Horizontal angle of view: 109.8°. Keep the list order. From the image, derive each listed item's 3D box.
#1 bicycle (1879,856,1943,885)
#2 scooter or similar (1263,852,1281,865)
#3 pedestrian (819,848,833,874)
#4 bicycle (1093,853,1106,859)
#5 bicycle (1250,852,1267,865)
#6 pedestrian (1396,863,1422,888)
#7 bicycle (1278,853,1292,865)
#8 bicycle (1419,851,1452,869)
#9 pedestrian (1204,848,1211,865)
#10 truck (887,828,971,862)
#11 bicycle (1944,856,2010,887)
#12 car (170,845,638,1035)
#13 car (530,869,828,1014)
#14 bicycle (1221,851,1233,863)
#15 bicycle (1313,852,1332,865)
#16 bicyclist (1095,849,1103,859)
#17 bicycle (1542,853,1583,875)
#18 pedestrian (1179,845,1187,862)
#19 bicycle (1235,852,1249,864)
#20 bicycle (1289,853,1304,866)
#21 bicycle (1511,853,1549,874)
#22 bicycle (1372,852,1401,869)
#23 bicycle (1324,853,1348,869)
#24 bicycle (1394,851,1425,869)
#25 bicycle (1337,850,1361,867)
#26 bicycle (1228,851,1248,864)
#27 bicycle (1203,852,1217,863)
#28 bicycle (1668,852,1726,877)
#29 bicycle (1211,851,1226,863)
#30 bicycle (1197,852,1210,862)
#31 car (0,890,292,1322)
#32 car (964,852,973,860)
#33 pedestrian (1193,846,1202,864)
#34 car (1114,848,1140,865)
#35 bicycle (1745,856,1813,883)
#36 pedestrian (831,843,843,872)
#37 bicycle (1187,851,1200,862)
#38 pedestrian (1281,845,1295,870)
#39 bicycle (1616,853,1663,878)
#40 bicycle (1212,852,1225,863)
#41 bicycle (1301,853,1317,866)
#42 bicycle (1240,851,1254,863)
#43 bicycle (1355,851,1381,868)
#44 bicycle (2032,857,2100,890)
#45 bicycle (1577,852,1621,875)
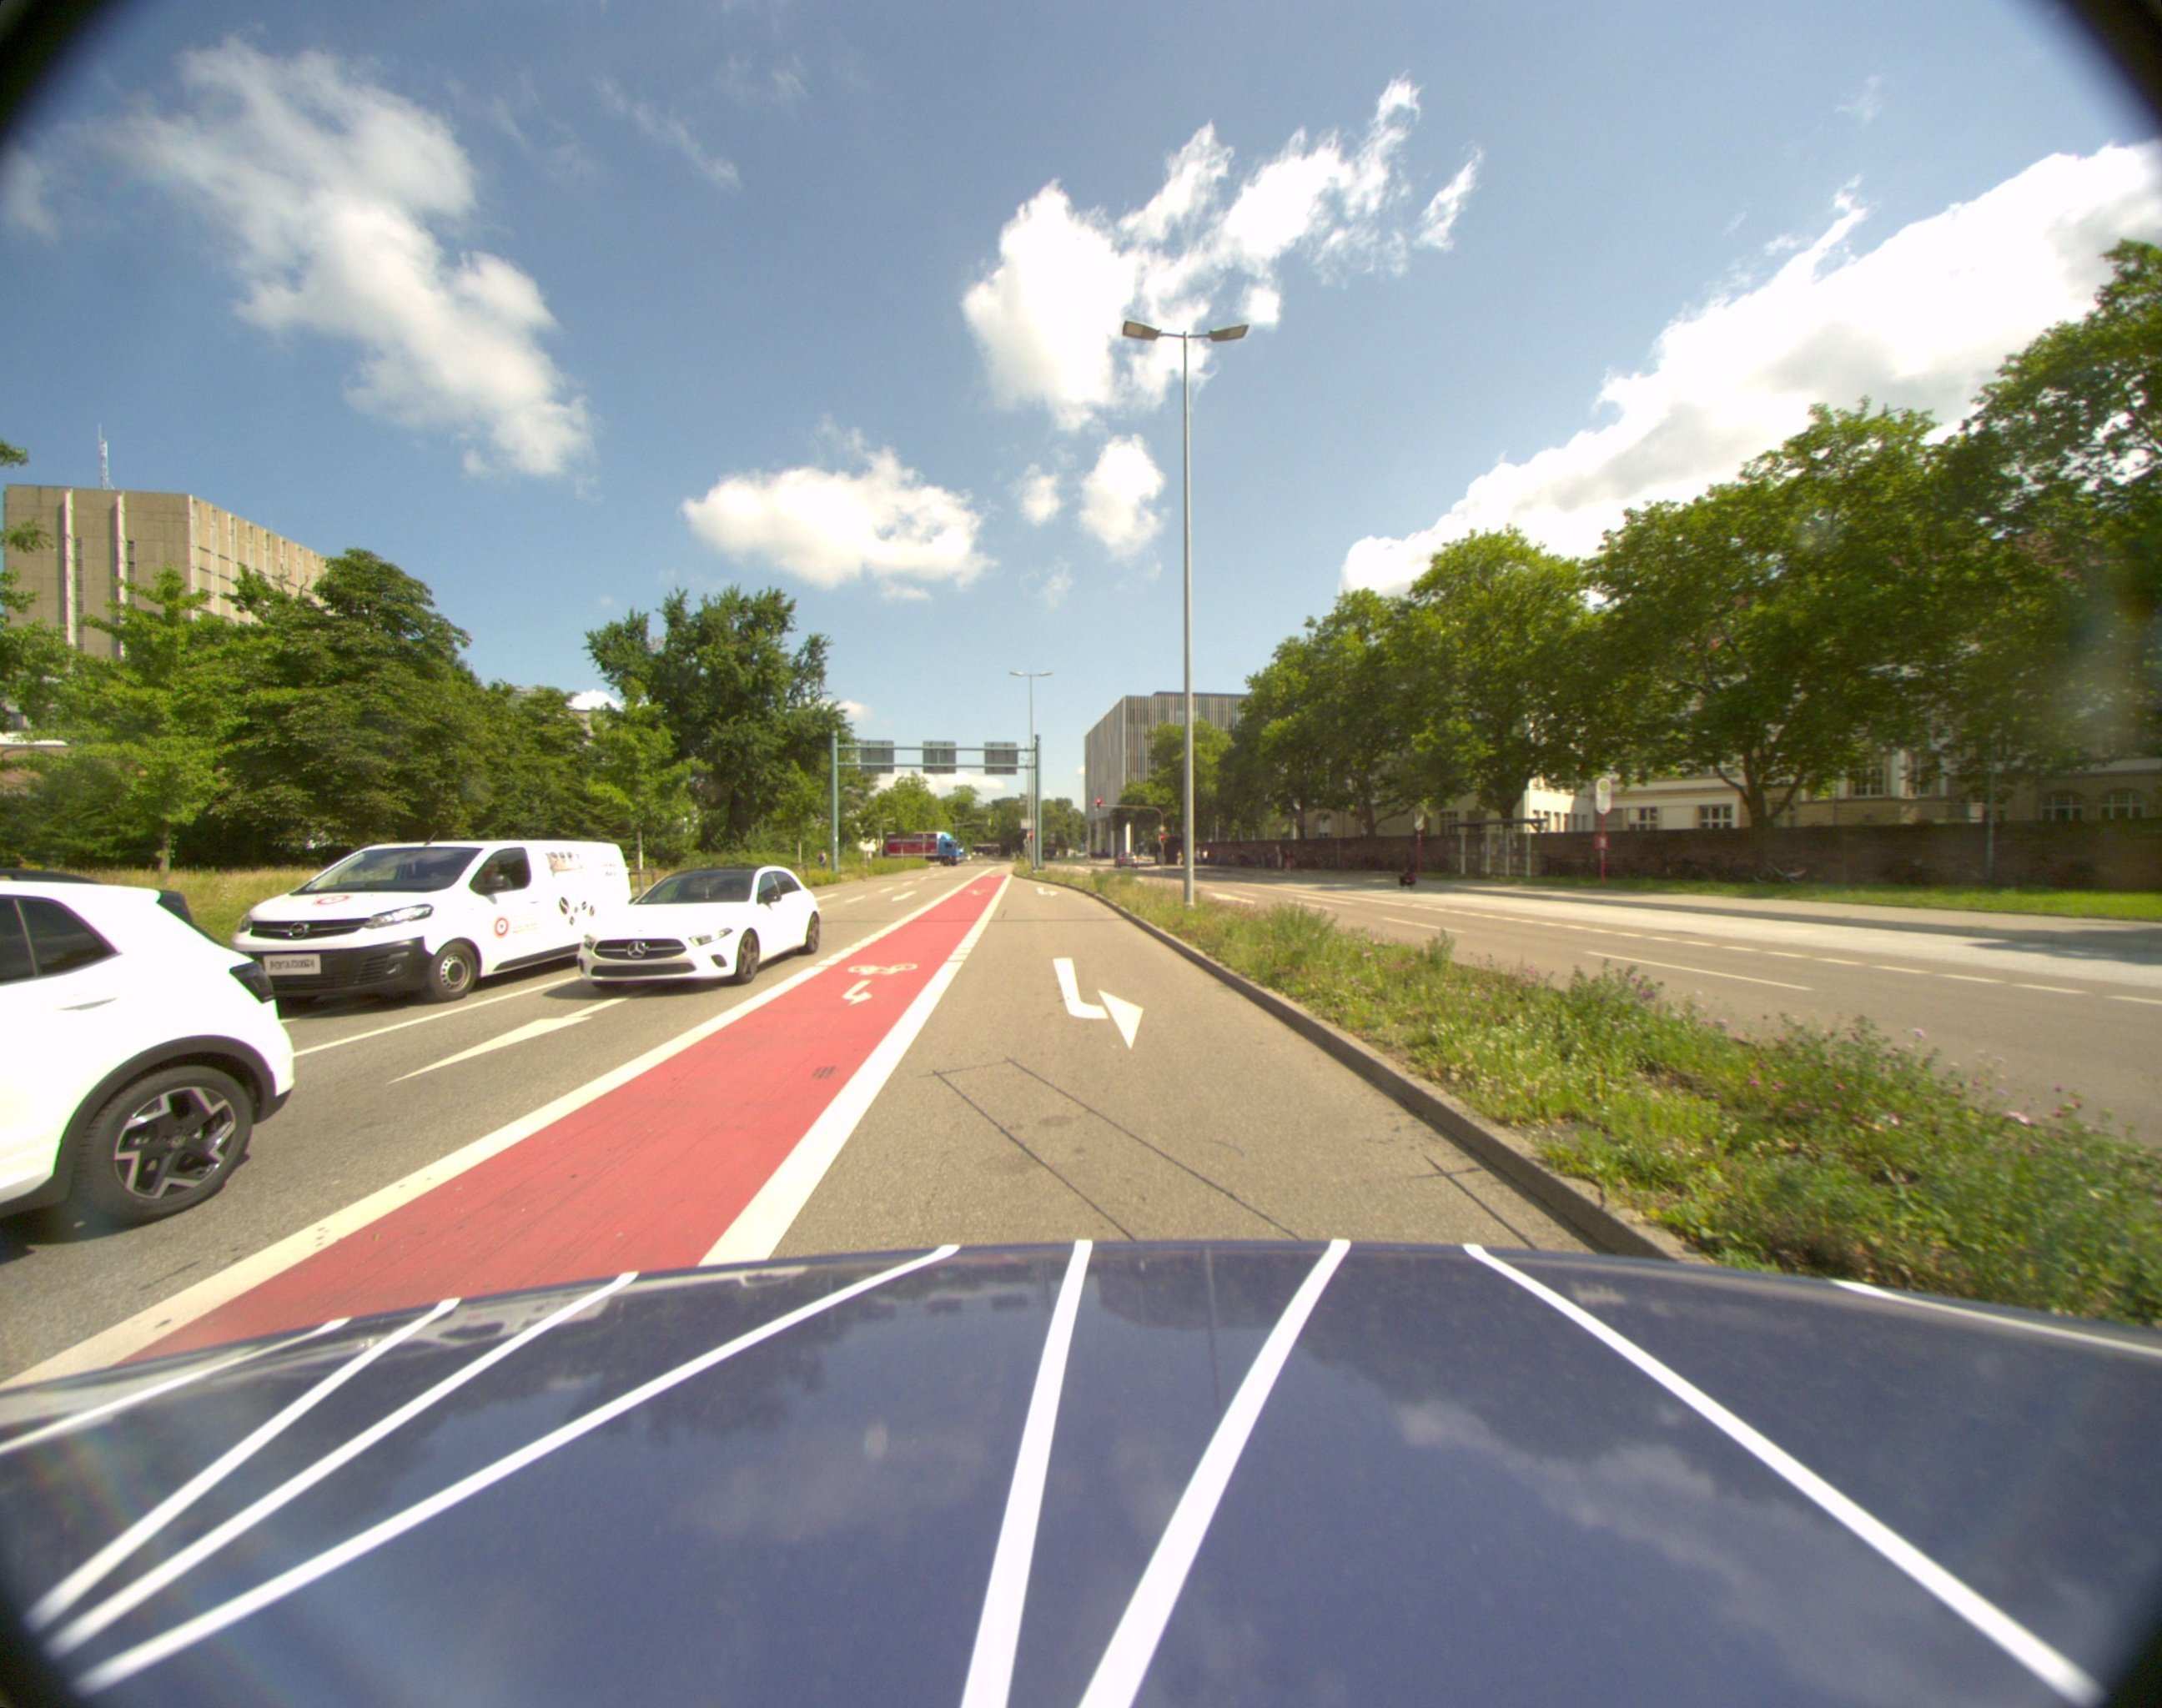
[{"bbox_3d":[29.350,0.575,26.878,0.473,1.005,1.453,-1,1,-25],"label":"bicycle"},{"bbox_3d":[15.250,0.333,60.829,0.582,1.042,1.878,-1,1,-14],"label":"scooter or similar"},{"bbox_3d":[-16.039,0.434,47.760,0.625,1.572,0.708,0,1,-4],"label":"pedestrian"},{"bbox_3d":[2.744,0.275,110.223,1.771,0.887,0.639,0,1,27],"label":"bicycle"},{"bbox_3d":[14.639,0.347,62.692,0.582,1.042,1.878,-1,1,-14],"label":"bicycle"},{"bbox_3d":[13.269,0.852,30.737,0.696,0.957,0.742,-1,1,-6],"label":"pedestrian"},{"bbox_3d":[15.880,0.381,59.191,0.368,0.949,1.399,-1,1,-20],"label":"bicycle"},{"bbox_3d":[20.587,0.336,44.170,0.585,1.067,1.752,-1,1,-26],"label":"bicycle"},{"bbox_3d":[11.936,0.225,71.791,0.477,1.531,0.616,0,1,-10],"label":"pedestrian"},{"bbox_3d":[-17.582,-1.030,87.933,9.175,3.777,2.668,0,1,10],"label":"truck"},{"bbox_3d":[30.089,0.564,25.544,0.392,1.005,1.367,-1,1,-25],"label":"bicycle"},{"bbox_3d":[-8.077,0.828,9.921,1.948,1.859,4.823,0,0,-3],"label":"car"},{"bbox_3d":[-5.043,0.984,10.366,1.909,1.415,4.383,0,0,-3],"label":"car"},{"bbox_3d":[13.157,0.298,68.526,0.371,1.042,1.878,-1,1,-14],"label":"bicycle"},{"bbox_3d":[17.188,0.313,54.079,0.371,0.949,1.624,-1,1,-20],"label":"bicycle"},{"bbox_3d":[2.654,-0.042,110.258,0.944,1.456,0.633,0,1,27],"label":"bicyclist"},{"bbox_3d":[23.644,0.492,37.343,0.585,1.067,1.628,-1,1,-26],"label":"bicycle"},{"bbox_3d":[10.074,-0.051,75.228,0.562,1.641,0.726,0,1,-10],"label":"pedestrian"},{"bbox_3d":[13.659,0.330,64.390,0.374,1.042,1.878,-1,1,-14],"label":"bicycle"},{"bbox_3d":[16.177,0.438,57.072,0.368,0.949,1.399,-1,1,-20],"label":"bicycle"},{"bbox_3d":[22.950,0.469,38.854,0.585,1.067,1.628,-1,1,-26],"label":"bicycle"},{"bbox_3d":[19.159,0.395,47.631,0.585,1.067,1.752,-1,1,-26],"label":"bicycle"},{"bbox_3d":[17.607,0.483,52.498,0.584,1.067,1.752,-1,1,-20],"label":"bicycle"},{"bbox_3d":[19.841,0.359,45.867,0.585,1.067,1.752,-1,1,-26],"label":"bicycle"},{"bbox_3d":[18.004,0.296,51.086,0.584,1.067,1.752,-1,1,-20],"label":"bicycle"},{"bbox_3d":[13.697,0.294,66.381,0.594,1.042,1.876,-1,1,-29],"label":"bicycle"},{"bbox_3d":[12.347,0.300,72.641,0.566,1.042,1.878,-1,1,-14],"label":"bicycle"},{"bbox_3d":[26.254,0.431,32.413,0.585,1.067,1.866,-1,1,-21],"label":"bicycle"},{"bbox_3d":[12.477,0.267,68.972,0.594,1.042,1.878,-1,1,-14],"label":"bicycle"},{"bbox_3d":[12.025,0.290,74.658,0.632,1.042,1.878,-1,1,-14],"label":"bicycle"},{"bbox_3d":[-4.845,0.996,1.811,1.796,1.530,4.009,-2,1,-3],"label":"car"},{"bbox_3d":[-22.026,0.370,148.611,1.710,1.321,3.996,2,0,-10],"label":"car"},{"bbox_3d":[10.879,0.118,71.120,0.643,1.641,0.730,0,1,-10],"label":"pedestrian"},{"bbox_3d":[4.123,0.220,68.533,1.705,1.436,4.143,1,0,-5],"label":"car"},{"bbox_3d":[27.560,0.595,30.034,0.473,1.005,1.960,-1,1,-25],"label":"bicycle"},{"bbox_3d":[-15.386,0.204,47.858,0.568,1.791,0.638,0,1,-4],"label":"pedestrian"},{"bbox_3d":[11.363,0.243,77.106,0.632,1.042,1.878,-1,1,-14],"label":"bicycle"},{"bbox_3d":[13.491,0.202,49.594,0.658,1.600,0.744,-1,1,-3],"label":"pedestrian"},{"bbox_3d":[25.192,0.509,34.305,0.585,1.067,1.628,-1,1,-26],"label":"bicycle"},{"bbox_3d":[12.762,0.304,70.524,0.371,1.042,1.878,-1,1,-14],"label":"bicycle"},{"bbox_3d":[16.722,0.411,55.680,0.368,0.949,1.399,-1,1,-20],"label":"bicycle"},{"bbox_3d":[14.053,0.259,64.491,0.395,1.042,1.878,-1,1,-14],"label":"bicycle"},{"bbox_3d":[18.644,0.330,49.385,0.585,1.067,1.752,-1,1,-21],"label":"bicycle"},{"bbox_3d":[31.091,0.609,24.001,0.354,1.005,1.252,-1,1,-25],"label":"bicycle"},{"bbox_3d":[24.395,0.431,35.826,0.585,1.067,1.628,-1,1,-26],"label":"bicycle"}]
